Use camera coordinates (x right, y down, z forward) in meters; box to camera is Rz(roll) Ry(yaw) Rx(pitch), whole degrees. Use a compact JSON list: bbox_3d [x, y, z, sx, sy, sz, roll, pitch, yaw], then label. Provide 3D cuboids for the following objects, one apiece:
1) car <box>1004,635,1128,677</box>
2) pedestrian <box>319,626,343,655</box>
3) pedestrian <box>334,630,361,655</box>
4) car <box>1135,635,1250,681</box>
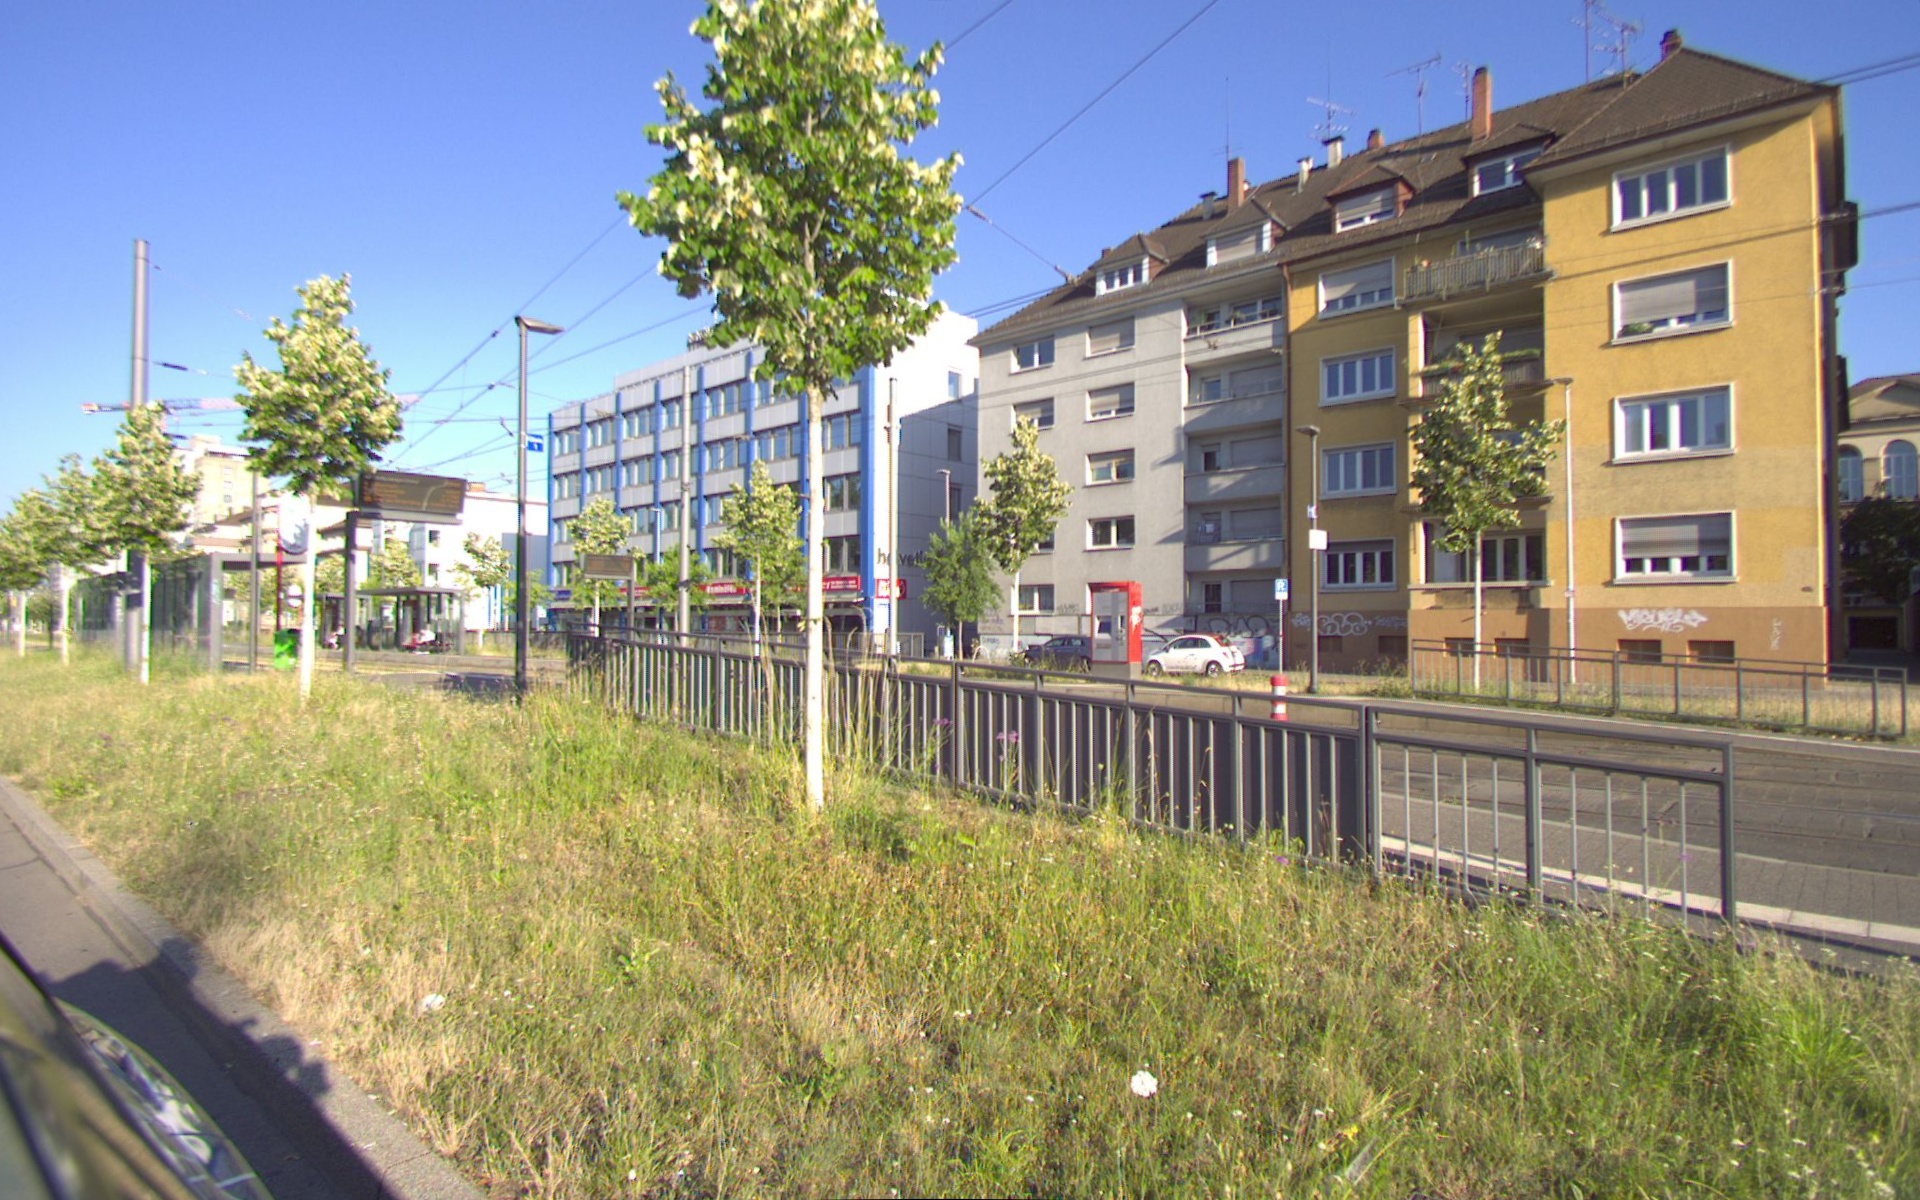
[{"bbox_3d":[4.040,2.093,38.958,4.429,1.519,1.973,-2,-3,41],"label":"car"},{"bbox_3d":[-31.500,2.028,50.686,0.803,1.421,0.829,-2,-3,41],"label":"pedestrian"},{"bbox_3d":[-29.606,2.048,48.943,0.764,1.206,0.924,-2,-3,41],"label":"pedestrian"},{"bbox_3d":[8.098,1.982,35.348,3.551,1.497,1.729,-2,-3,41],"label":"car"}]
